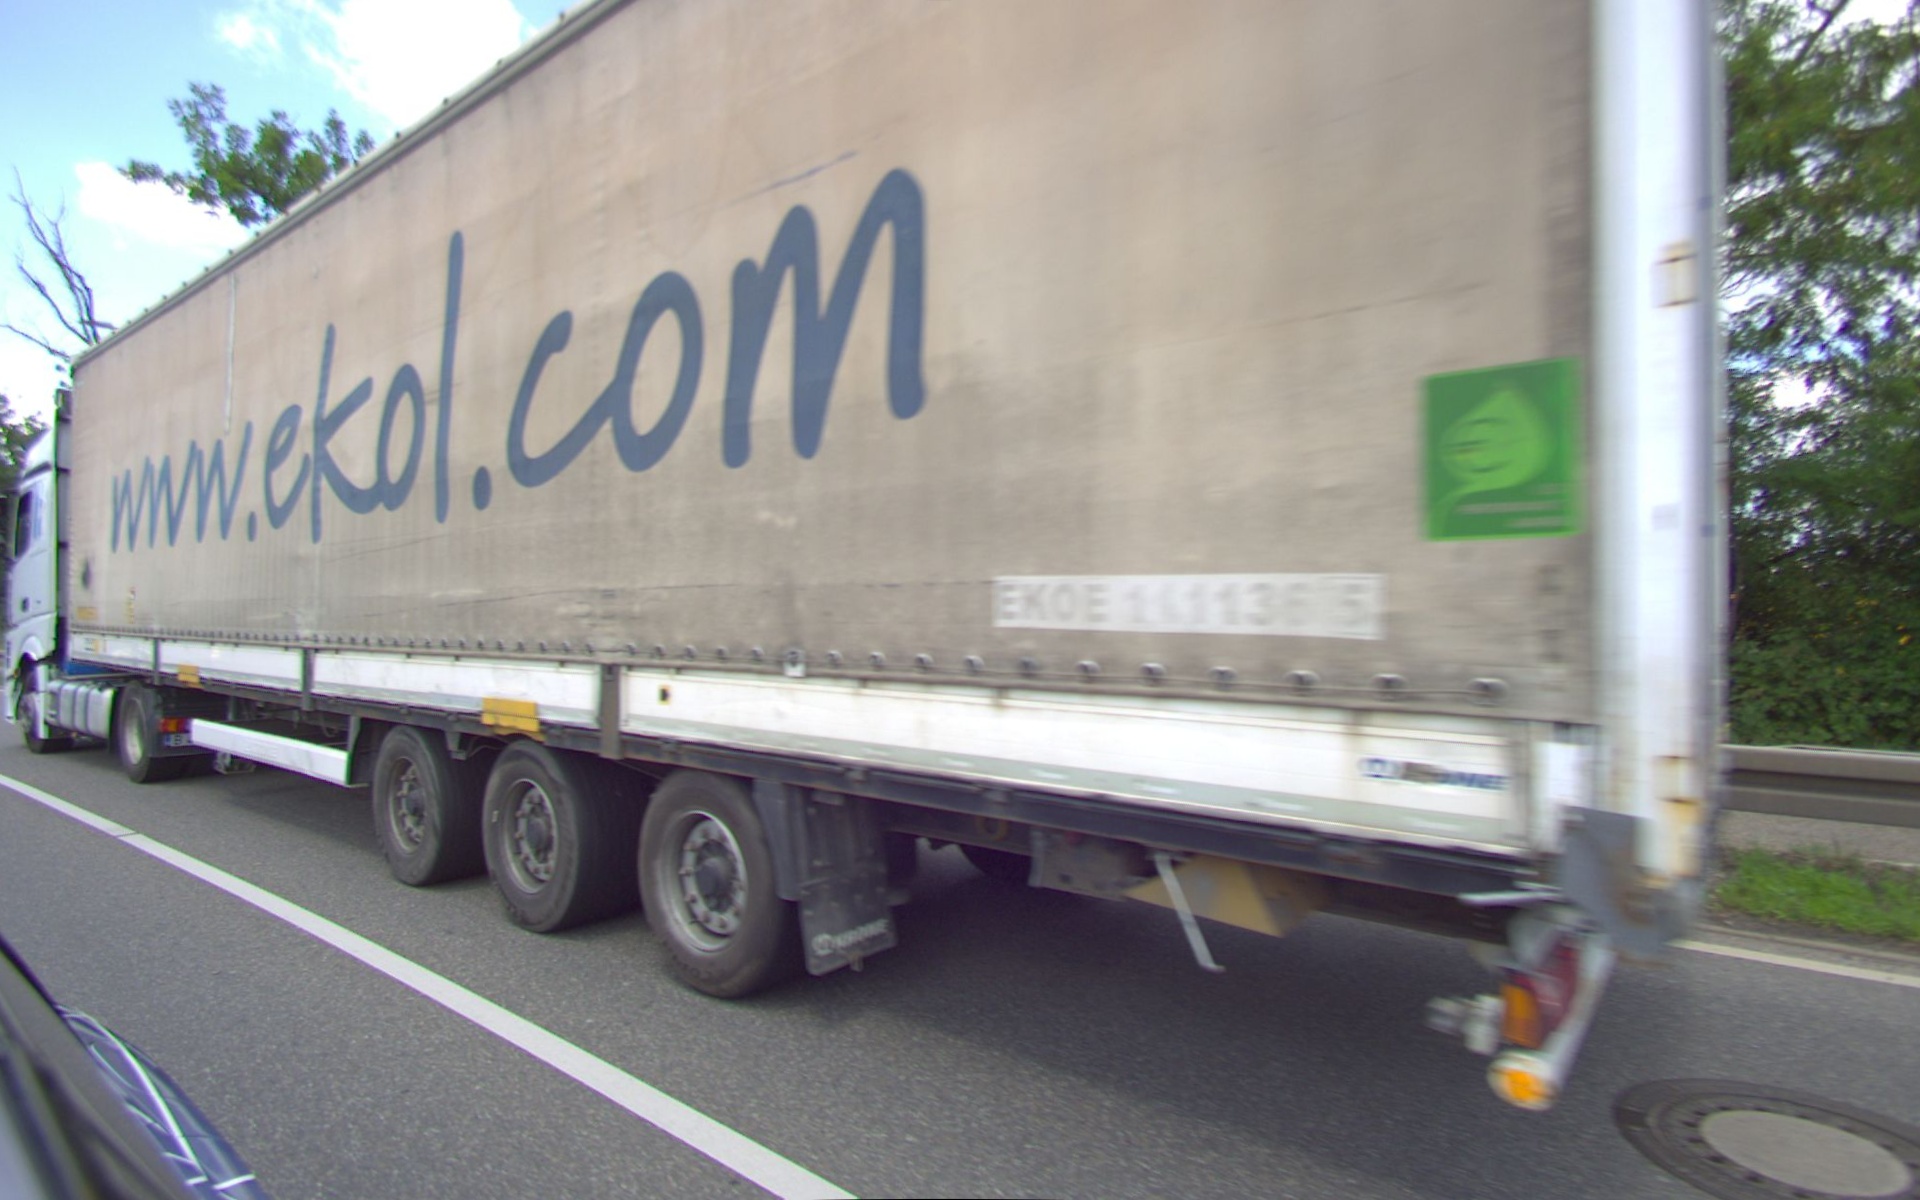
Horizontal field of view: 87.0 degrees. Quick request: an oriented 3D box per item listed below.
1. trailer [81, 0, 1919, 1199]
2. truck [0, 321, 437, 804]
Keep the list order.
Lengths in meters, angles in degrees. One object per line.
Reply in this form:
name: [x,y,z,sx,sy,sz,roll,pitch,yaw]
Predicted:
trailer: [-2.298,-0.466,6.399,14.219,4.312,2.679,-1,0,40]
truck: [-8.731,-0.303,11.553,5.645,4.166,2.735,-1,0,38]
